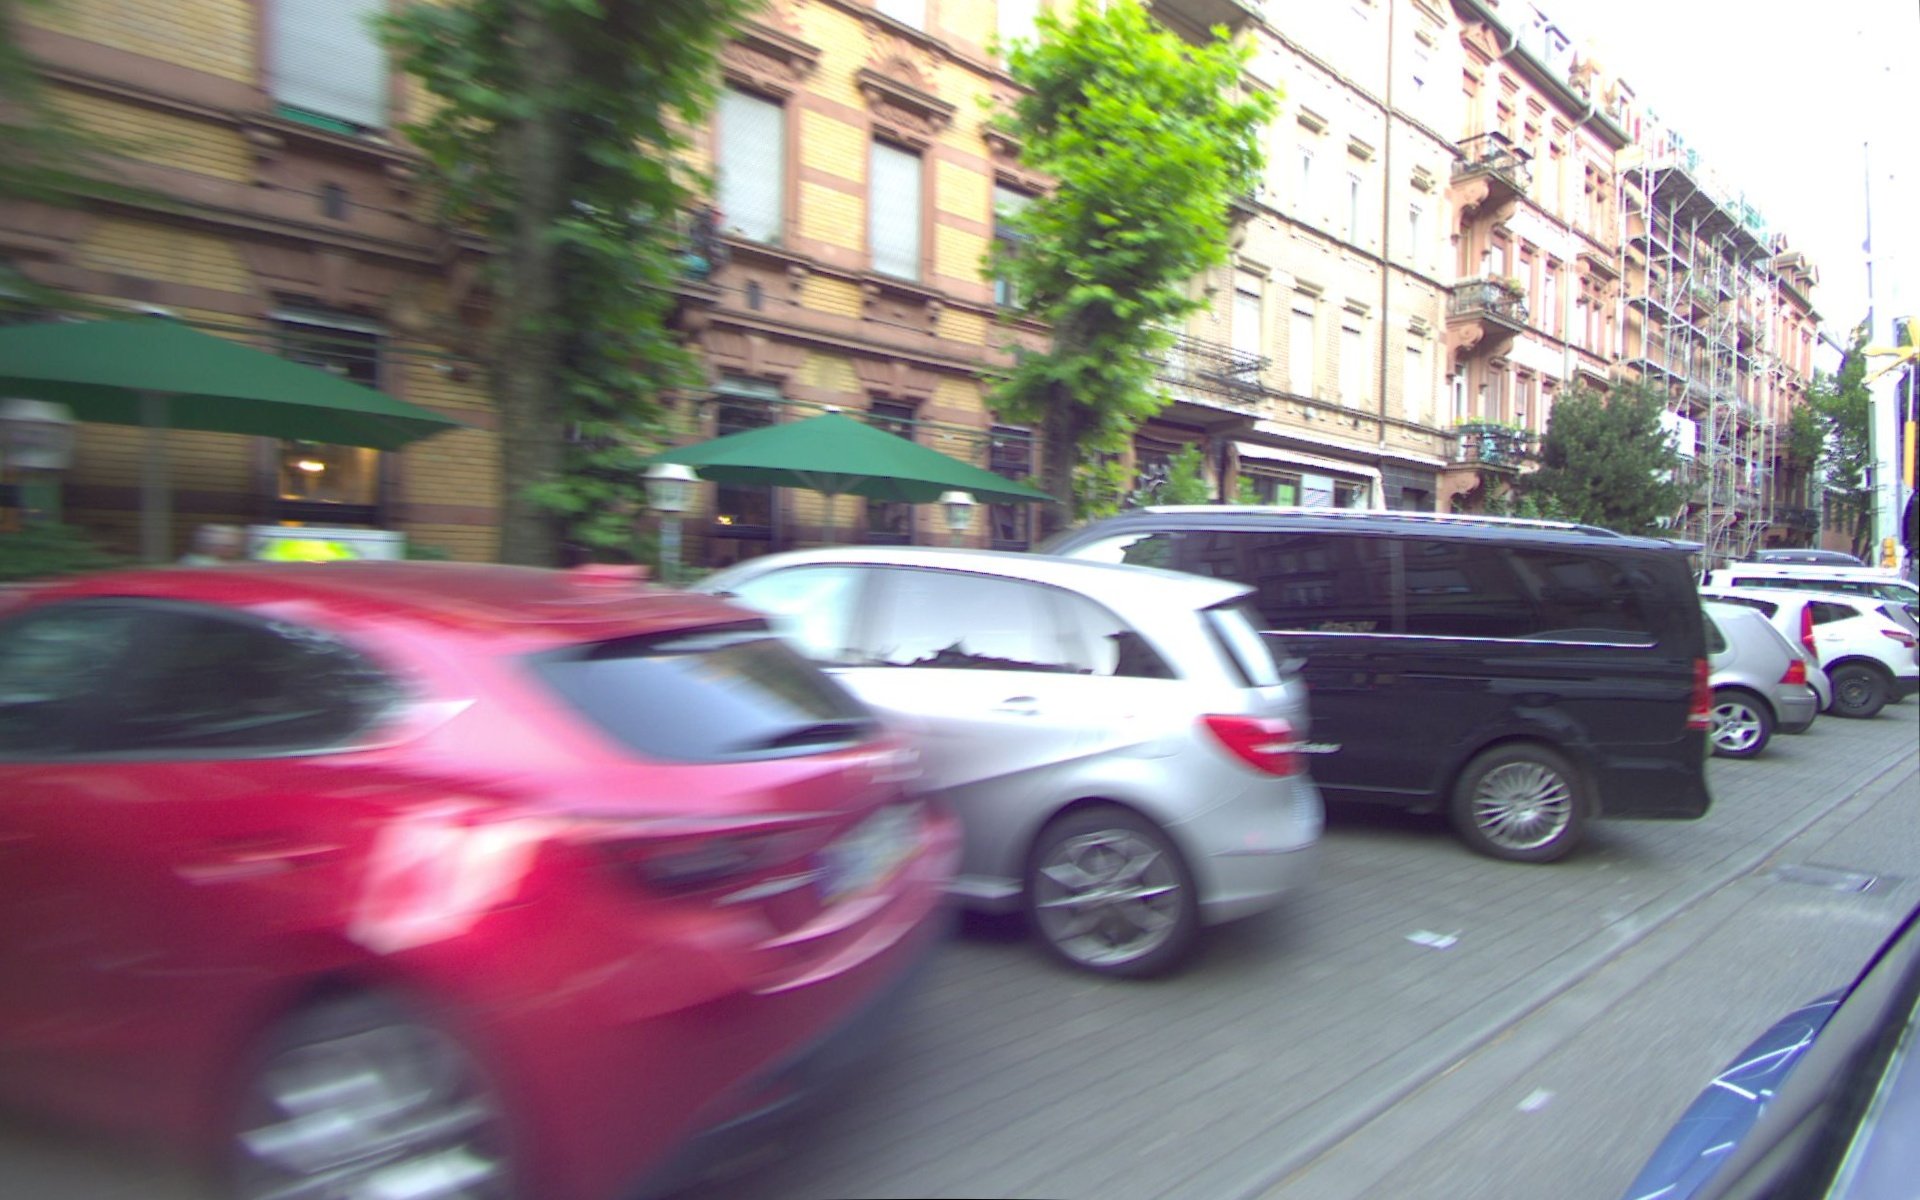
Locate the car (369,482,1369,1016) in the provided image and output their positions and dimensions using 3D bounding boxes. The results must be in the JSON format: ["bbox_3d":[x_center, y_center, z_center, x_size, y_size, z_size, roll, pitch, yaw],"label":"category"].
[{"bbox_3d":[-0.409,0.399,4.895,4.169,1.642,1.923,4,2,18],"label":"car"}]

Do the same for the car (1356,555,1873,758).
[{"bbox_3d":[6.351,0.448,10.440,4.058,1.570,1.807,4,2,20],"label":"car"}]

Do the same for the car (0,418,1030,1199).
[{"bbox_3d":[-2.017,0.426,3.161,4.161,1.708,1.927,4,2,13],"label":"car"}]

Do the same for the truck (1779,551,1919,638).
[{"bbox_3d":[34.775,-0.221,37.467,2.477,3.115,6.500,0,0,-36],"label":"truck"}]

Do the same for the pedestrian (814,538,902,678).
[{"bbox_3d":[-1.051,0.077,10.449,0.685,1.383,0.588,0,0,-43],"label":"pedestrian"}]

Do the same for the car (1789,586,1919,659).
[{"bbox_3d":[21.264,0.505,22.623,3.827,1.535,1.832,2,1,25],"label":"car"}]

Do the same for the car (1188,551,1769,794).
[{"bbox_3d":[4.207,0.476,8.906,4.058,1.570,1.807,4,2,20],"label":"car"}]

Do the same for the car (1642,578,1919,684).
[{"bbox_3d":[14.622,0.485,17.673,4.119,1.610,1.872,2,1,23],"label":"car"}]

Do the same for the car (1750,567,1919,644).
[{"bbox_3d":[26.207,0.168,29.077,1.865,1.979,5.186,2,3,-40],"label":"car"}]

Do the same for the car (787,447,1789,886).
[{"bbox_3d":[1.758,0.225,6.726,5.355,2.098,1.926,4,2,13],"label":"car"}]

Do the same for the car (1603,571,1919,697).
[{"bbox_3d":[12.746,0.479,15.832,4.116,1.610,1.874,4,2,20],"label":"car"}]

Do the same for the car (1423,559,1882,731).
[{"bbox_3d":[7.992,0.434,12.137,4.048,1.610,1.812,4,2,13],"label":"car"}]

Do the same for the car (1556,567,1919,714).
[{"bbox_3d":[10.700,0.477,13.801,4.059,1.610,1.807,4,2,20],"label":"car"}]

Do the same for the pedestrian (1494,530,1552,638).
[{"bbox_3d":[9.657,-0.287,17.353,0.683,1.771,0.816,4,4,36],"label":"pedestrian"}]

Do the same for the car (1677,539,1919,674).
[{"bbox_3d":[16.920,0.099,19.326,4.887,2.392,1.983,2,1,25],"label":"car"}]
